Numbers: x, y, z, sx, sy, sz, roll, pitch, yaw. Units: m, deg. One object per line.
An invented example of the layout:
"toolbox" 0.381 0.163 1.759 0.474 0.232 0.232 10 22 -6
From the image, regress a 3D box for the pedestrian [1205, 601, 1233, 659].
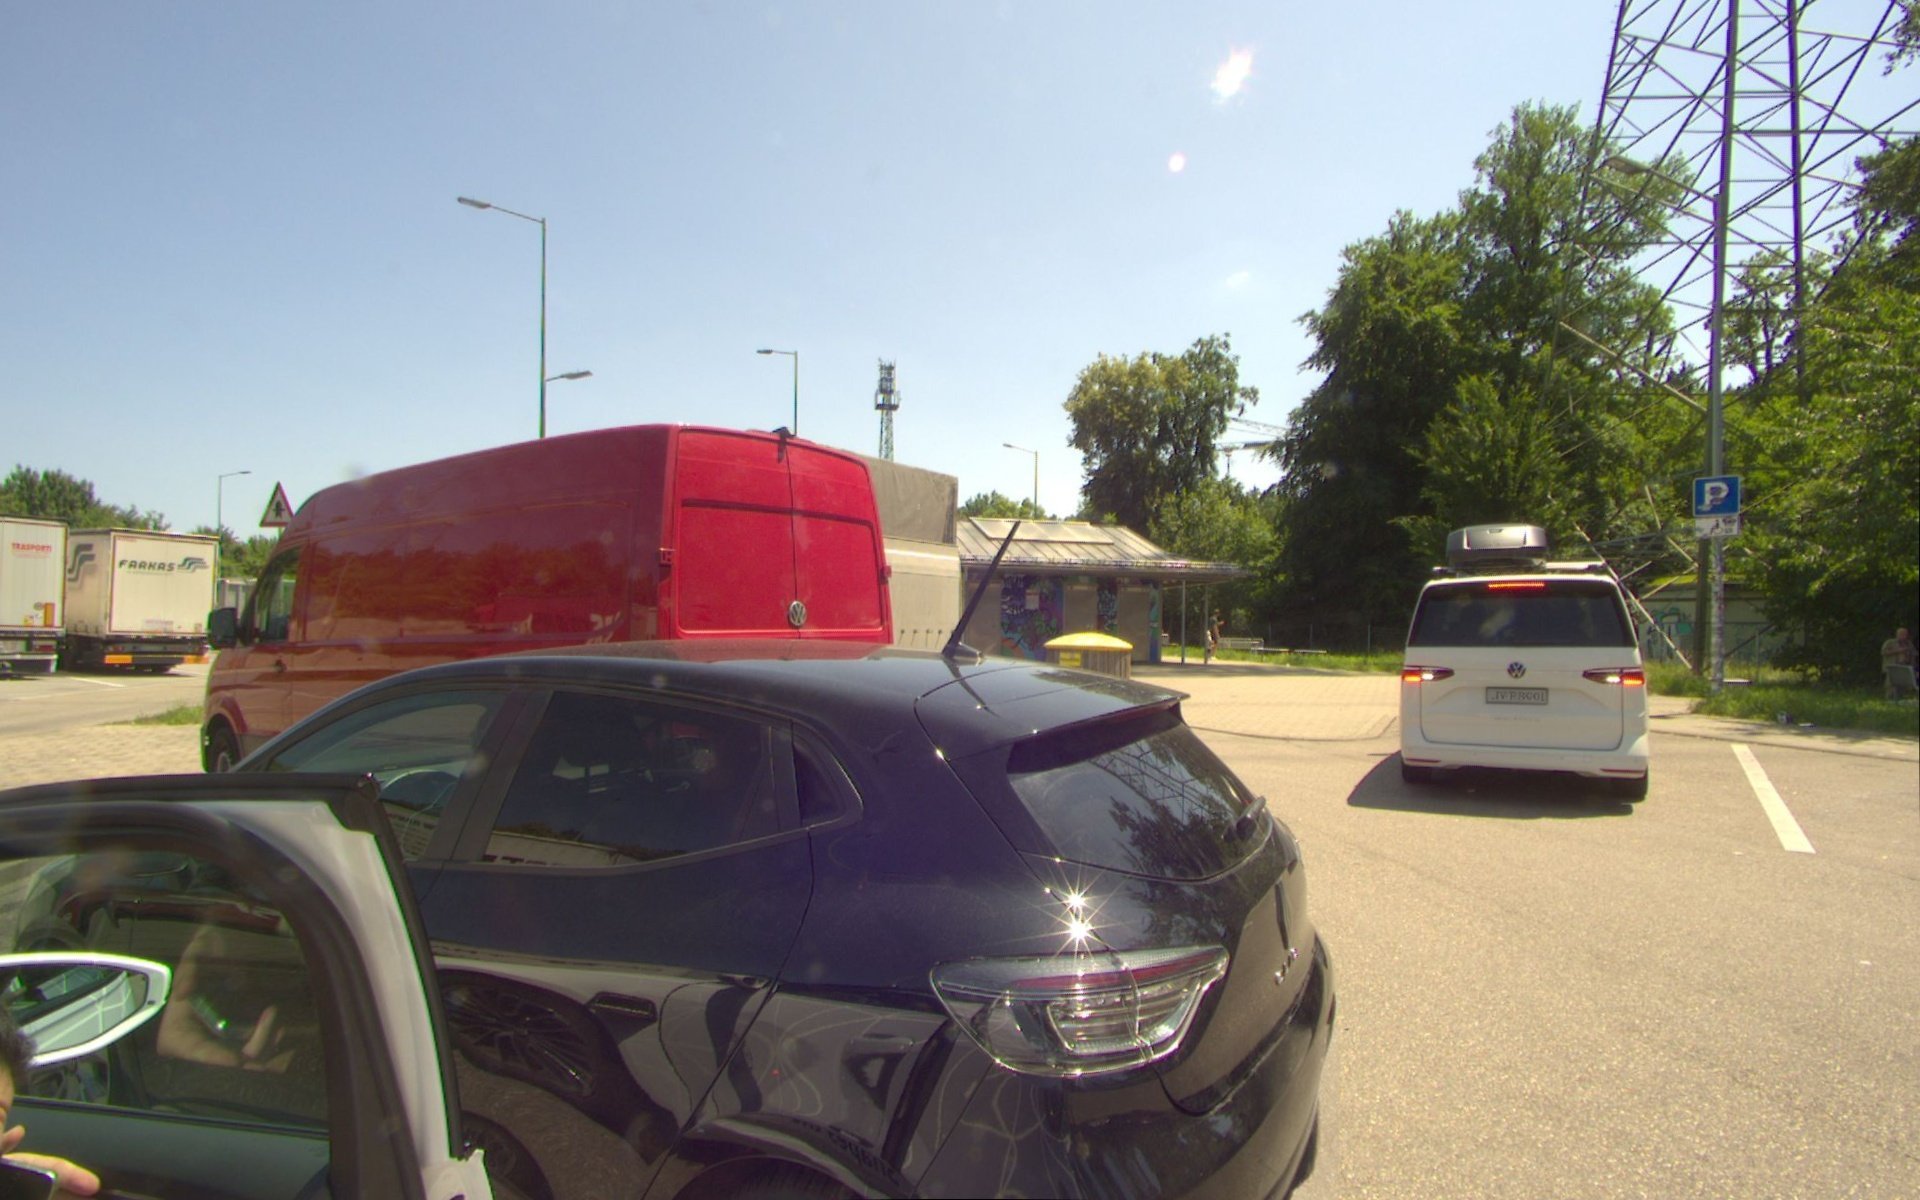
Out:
"pedestrian" 9.316 1.096 36.054 0.769 2.067 0.641 1 -1 -38

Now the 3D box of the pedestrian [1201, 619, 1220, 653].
"pedestrian" 11.577 1.669 46.232 0.634 1.547 0.564 0 -1 -16

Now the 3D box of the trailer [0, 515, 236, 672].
"trailer" -27.646 -0.195 31.621 13.523 4.185 2.835 1 -2 33

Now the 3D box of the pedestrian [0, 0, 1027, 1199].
"pedestrian" -0.476 0.588 0.835 0.878 1.865 0.618 -1 -1 35

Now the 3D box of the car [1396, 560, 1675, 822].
"car" 5.451 0.725 9.864 1.882 1.937 4.548 -1 -1 27

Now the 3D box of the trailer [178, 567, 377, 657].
"trailer" -32.369 0.478 47.133 13.530 3.764 2.834 1 -2 34

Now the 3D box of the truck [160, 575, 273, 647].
"truck" -37.677 0.561 50.733 5.405 3.407 2.847 1 -2 34

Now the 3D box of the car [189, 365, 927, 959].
"car" -3.343 0.308 7.346 6.310 2.731 2.060 0 -1 37

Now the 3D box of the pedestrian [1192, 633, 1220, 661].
"pedestrian" 8.761 1.662 35.638 0.769 0.960 0.641 1 -2 -38

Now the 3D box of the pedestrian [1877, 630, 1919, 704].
"pedestrian" 18.683 1.316 19.821 0.660 1.422 0.647 -1 -1 33

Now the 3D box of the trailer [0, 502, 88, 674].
"trailer" -28.955 -0.373 28.141 13.523 4.185 2.835 1 -2 33

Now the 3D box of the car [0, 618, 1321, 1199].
"car" -1.052 0.833 2.894 3.757 1.501 1.736 0 -1 27

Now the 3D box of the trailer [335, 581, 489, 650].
"trailer" -36.030 0.906 65.426 13.530 4.101 2.833 1 -2 34

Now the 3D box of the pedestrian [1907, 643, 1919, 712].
"pedestrian" 17.202 1.349 17.461 0.876 1.192 0.666 -1 -2 32
